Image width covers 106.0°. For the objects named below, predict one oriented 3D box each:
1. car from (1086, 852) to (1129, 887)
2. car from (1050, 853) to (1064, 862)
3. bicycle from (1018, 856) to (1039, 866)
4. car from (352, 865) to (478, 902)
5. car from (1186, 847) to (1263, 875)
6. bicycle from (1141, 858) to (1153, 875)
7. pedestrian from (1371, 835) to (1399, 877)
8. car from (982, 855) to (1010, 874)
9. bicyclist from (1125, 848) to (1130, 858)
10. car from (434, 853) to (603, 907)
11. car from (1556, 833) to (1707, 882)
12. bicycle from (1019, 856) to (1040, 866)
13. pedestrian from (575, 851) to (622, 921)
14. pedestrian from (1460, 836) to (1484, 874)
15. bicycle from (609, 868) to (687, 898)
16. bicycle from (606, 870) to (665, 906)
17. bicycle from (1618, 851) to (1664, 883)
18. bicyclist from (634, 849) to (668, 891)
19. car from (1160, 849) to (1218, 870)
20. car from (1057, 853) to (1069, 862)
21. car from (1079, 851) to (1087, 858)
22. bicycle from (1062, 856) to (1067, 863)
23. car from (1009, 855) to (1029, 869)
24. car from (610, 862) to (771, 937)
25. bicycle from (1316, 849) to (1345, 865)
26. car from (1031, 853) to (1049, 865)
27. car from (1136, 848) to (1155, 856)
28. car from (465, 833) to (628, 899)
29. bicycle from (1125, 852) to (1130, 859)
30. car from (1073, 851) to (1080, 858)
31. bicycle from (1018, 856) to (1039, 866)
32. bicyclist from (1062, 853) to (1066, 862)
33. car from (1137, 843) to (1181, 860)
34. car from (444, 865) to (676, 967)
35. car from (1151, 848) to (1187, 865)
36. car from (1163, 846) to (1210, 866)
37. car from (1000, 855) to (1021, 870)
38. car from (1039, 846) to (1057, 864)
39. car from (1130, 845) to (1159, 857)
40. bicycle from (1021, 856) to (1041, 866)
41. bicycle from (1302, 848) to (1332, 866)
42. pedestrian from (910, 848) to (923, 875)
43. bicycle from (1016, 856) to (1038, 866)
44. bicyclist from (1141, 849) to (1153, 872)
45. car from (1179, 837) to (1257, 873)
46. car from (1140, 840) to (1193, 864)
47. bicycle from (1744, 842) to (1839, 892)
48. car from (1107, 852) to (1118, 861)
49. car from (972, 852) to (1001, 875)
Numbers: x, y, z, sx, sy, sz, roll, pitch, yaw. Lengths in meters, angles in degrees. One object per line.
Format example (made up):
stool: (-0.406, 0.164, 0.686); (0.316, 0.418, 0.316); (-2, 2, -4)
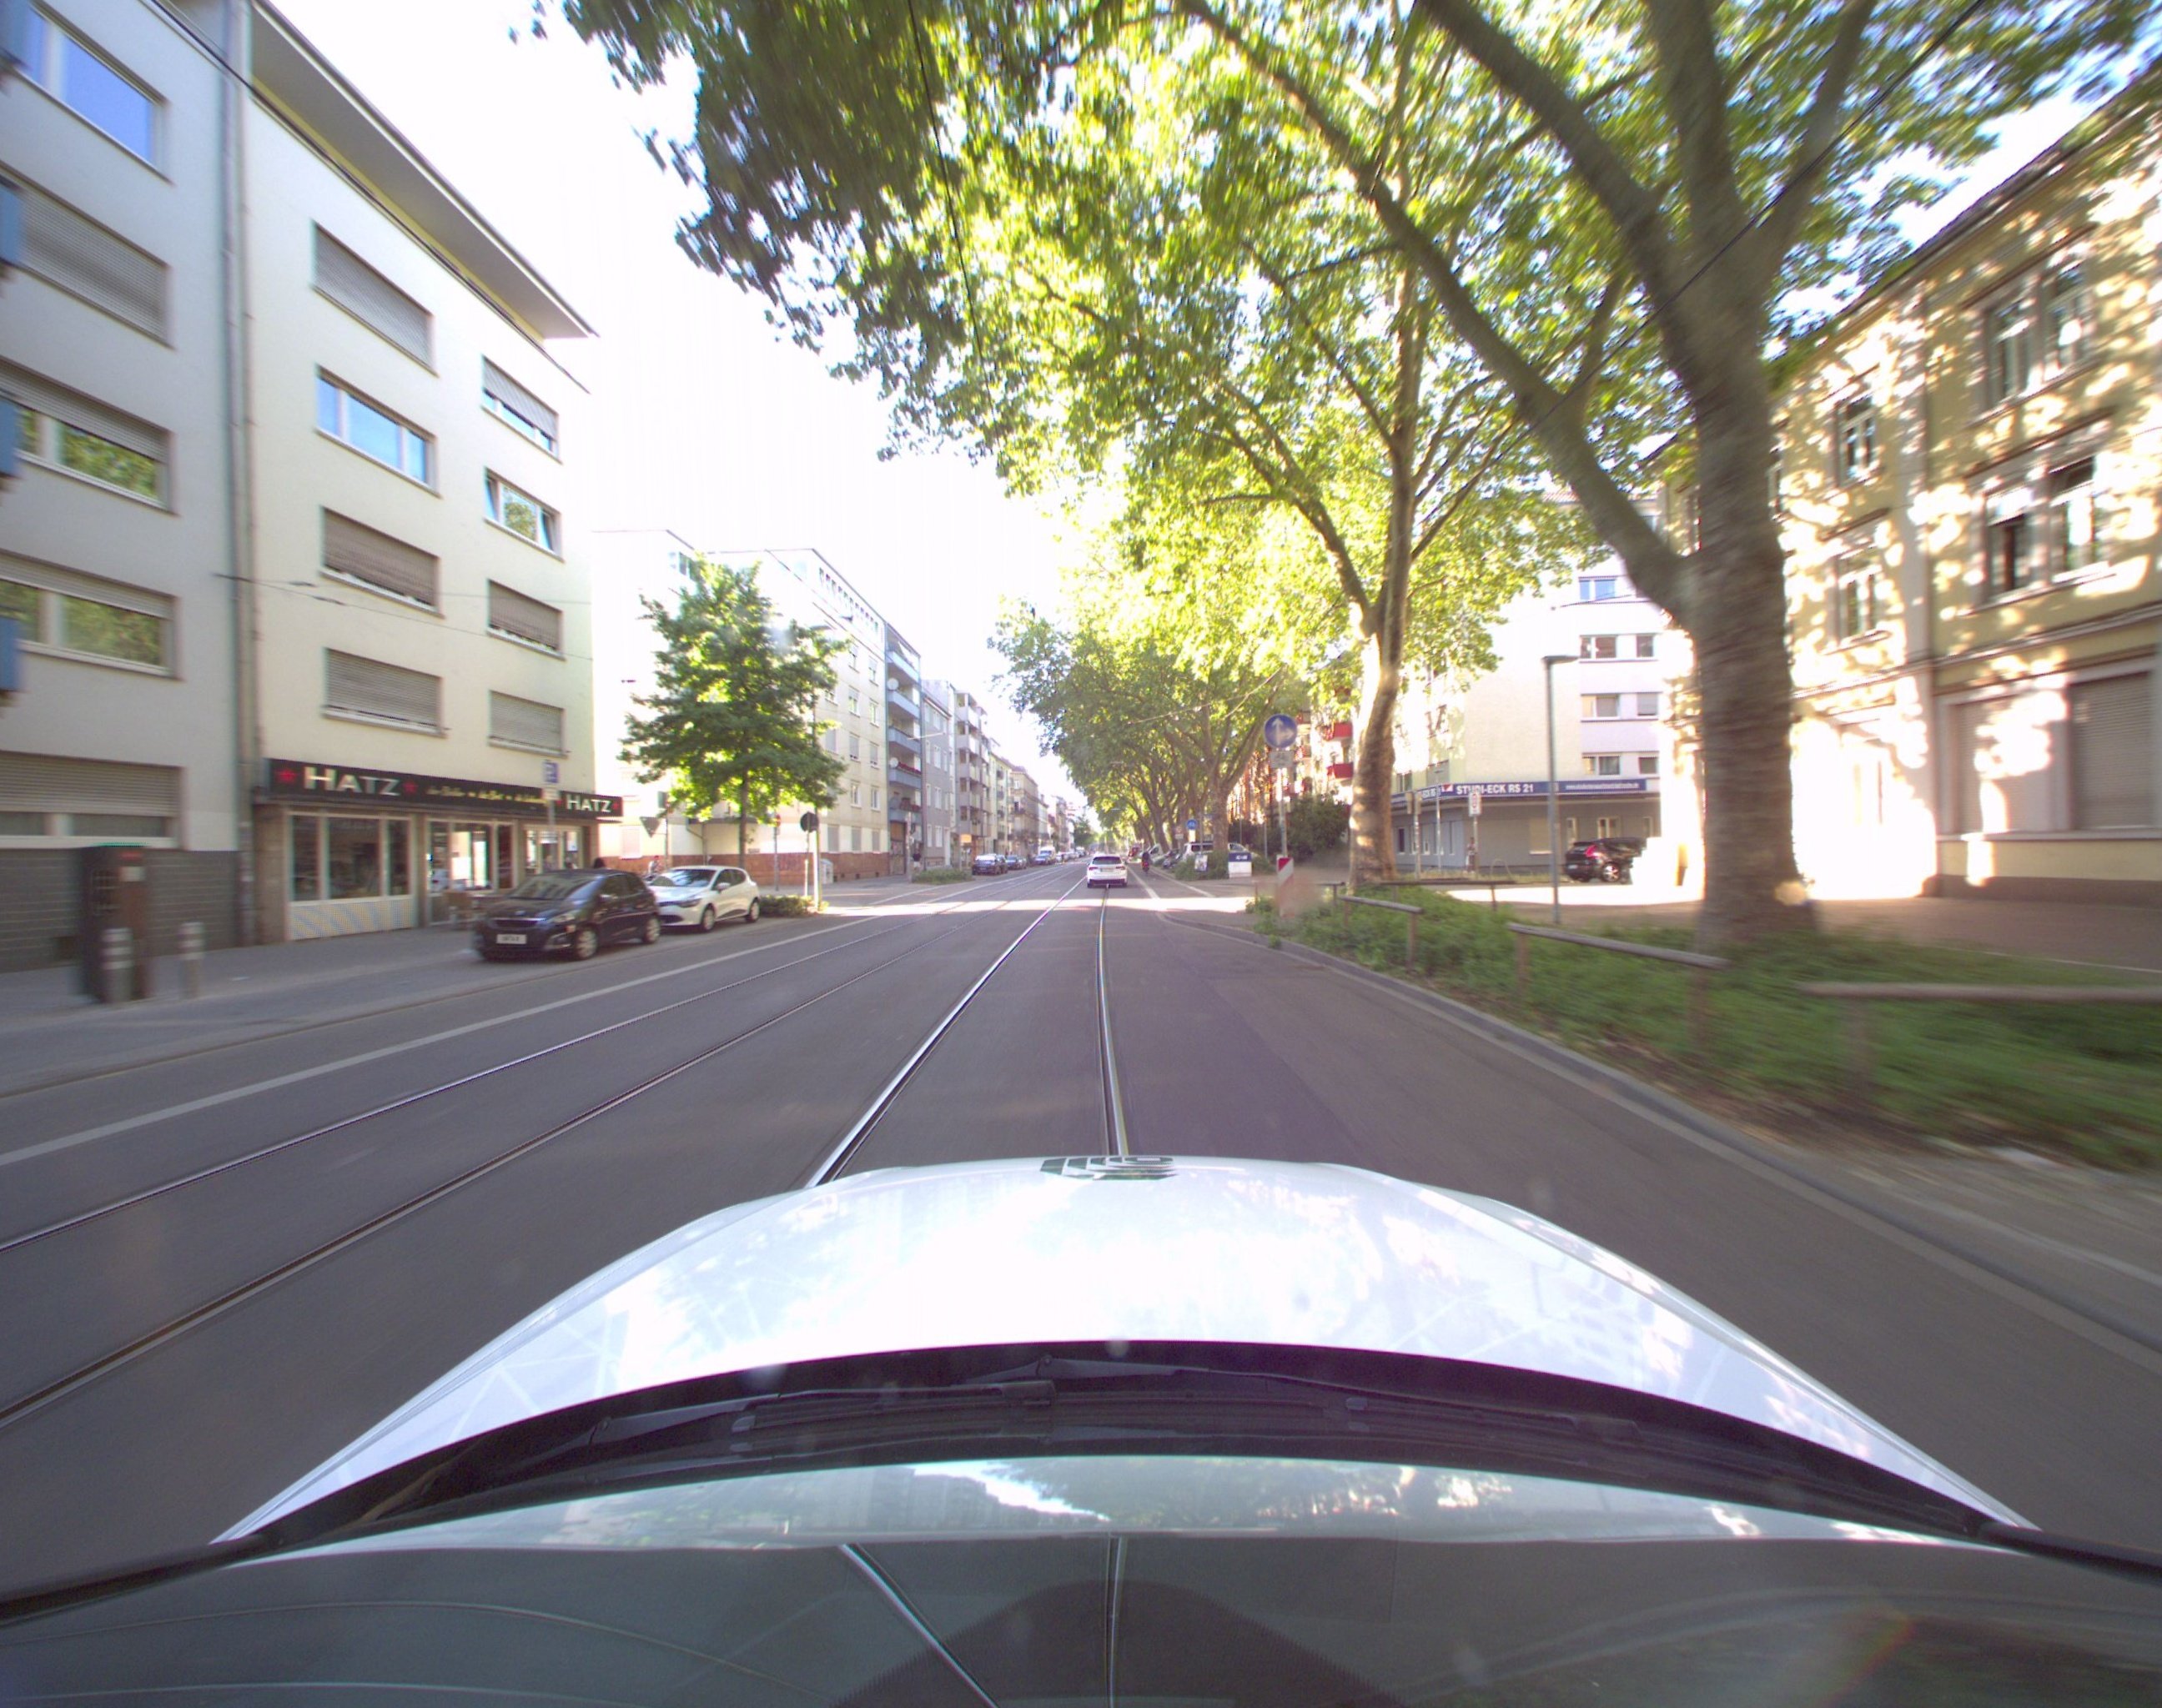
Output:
car: (1.136, 0.646, 35.953); (1.755, 1.384, 4.001); (-2, 0, 1)
car: (-4.129, 0.619, 140.443); (1.986, 1.530, 4.002); (-1, 0, 2)
bicycle: (-6.305, 0.857, 97.262); (2.520, 1.172, 0.718); (1, -2, -5)
car: (-29.825, 1.291, 36.567); (3.932, 1.499, 2.029); (-1, 0, 0)
car: (8.481, 0.405, 48.505); (4.282, 1.479, 1.831); (-2, 0, 1)
bicycle: (4.227, 0.797, 52.285); (0.679, 1.071, 1.782); (-2, 0, 3)
pedestrian: (13.717, 0.084, 36.763); (0.764, 1.866, 1.188); (-2, 0, -2)
car: (-7.103, 0.864, 68.584); (1.695, 1.544, 4.244); (1, 0, 2)
bicyclist: (6.736, -0.131, 117.436); (0.647, 1.344, 0.934); (-2, 0, 0)
car: (-21.126, 0.939, 30.769); (4.862, 1.822, 2.037); (-1, 0, -3)
car: (19.691, 0.121, 29.242); (4.121, 1.593, 1.998); (-1, 0, -2)
bicycle: (-6.269, 0.851, 99.137); (2.519, 1.172, 0.718); (1, -2, -3)
pedestrian: (-11.927, 0.778, 20.156); (0.661, 1.691, 0.749); (-1, 0, 0)
pedestrian: (17.429, 0.049, 36.295); (0.743, 1.644, 0.666); (-1, 0, 3)
bicycle: (-18.082, 1.206, 34.005); (2.782, 1.156, 0.922); (-1, 0, 4)
bicycle: (-15.722, 1.192, 28.740); (1.930, 1.156, 0.574); (-3, 0, 15)
bicycle: (18.083, 0.408, 26.289); (1.842, 1.007, 0.563); (0, -1, -34)
bicyclist: (-17.955, 0.649, 34.016); (0.867, 1.704, 0.909); (-1, 0, 5)
car: (8.228, 0.405, 62.315); (4.128, 1.514, 1.931); (-2, 0, 1)
car: (-3.458, 0.696, 154.399); (1.986, 1.530, 4.002); (-1, 0, 2)
car: (0.481, 0.074, 223.974); (1.986, 2.013, 4.002); (-1, 0, 2)
bicycle: (-2.500, 0.805, 122.016); (0.603, 1.071, 1.583); (-2, 0, 0)
car: (-6.475, 0.811, 85.007); (1.478, 1.403, 3.995); (-1, 0, 4)
car: (-8.920, 0.968, 19.052); (1.708, 1.464, 4.374); (2, 0, -2)
bicycle: (17.830, 0.204, 58.229); (1.786, 1.041, 0.617); (-3, 0, -2)
car: (-5.402, 0.644, 108.397); (1.986, 1.530, 4.002); (-1, 0, 2)
car: (13.595, -0.387, 172.199); (4.034, 1.540, 2.001); (-1, 0, 1)
car: (-23.839, 0.519, 36.479); (5.788, 2.723, 2.170); (-1, 0, 0)
bicycle: (6.750, 0.194, 117.418); (0.647, 1.071, 1.583); (-2, 0, 0)
car: (-1.344, 0.168, 235.861); (1.986, 2.014, 4.002); (0, 0, 2)
bicycle: (-6.284, 0.855, 98.149); (2.519, 1.172, 0.718); (1, -2, -3)
bicyclist: (-2.504, 0.518, 122.031); (0.595, 1.286, 0.917); (-2, 0, -1)
car: (11.120, -0.361, 116.686); (6.110, 2.282, 2.529); (-1, 0, 0)
car: (-8.907, 0.969, 14.389); (1.710, 1.464, 3.993); (2, 0, -5)
car: (9.263, 0.230, 85.836); (3.618, 1.666, 1.824); (-2, 0, 4)
car: (9.446, 0.206, 73.206); (3.973, 1.680, 1.724); (-2, 0, 1)
car: (-6.842, 0.797, 79.082); (1.648, 1.437, 3.837); (-1, 0, 1)
car: (-4.885, 0.126, 120.119); (2.170, 2.597, 4.952); (-1, 0, 2)
car: (13.830, -0.668, 176.890); (6.110, 2.282, 2.529); (-1, 0, 0)
bicycle: (-6.190, 0.853, 101.041); (2.520, 1.172, 0.718); (1, -2, -4)
bicycle: (16.922, 0.198, 58.322); (1.942, 1.156, 0.571); (-3, 0, -6)
pedestrian: (-11.408, 0.540, 56.555); (0.661, 1.826, 0.965); (-1, 0, 0)
bicycle: (-6.402, 0.856, 96.382); (2.544, 1.172, 0.873); (2, -2, -38)
bicyclist: (4.224, 0.401, 52.406); (0.676, 1.443, 1.048); (-2, 0, 3)
car: (8.563, 0.077, 51.084); (4.529, 2.076, 2.000); (-2, 0, -1)
car: (10.250, -0.263, 98.073); (6.110, 2.635, 2.529); (-1, 0, 0)
bicycle: (16.983, 0.299, 19.524); (0.580, 1.104, 1.923); (-3, 0, 2)
car: (5.370, 0.340, 139.398); (1.754, 1.475, 4.003); (-2, 0, 3)
car: (-7.360, 0.702, 63.602); (1.696, 1.650, 4.242); (1, 0, 1)
